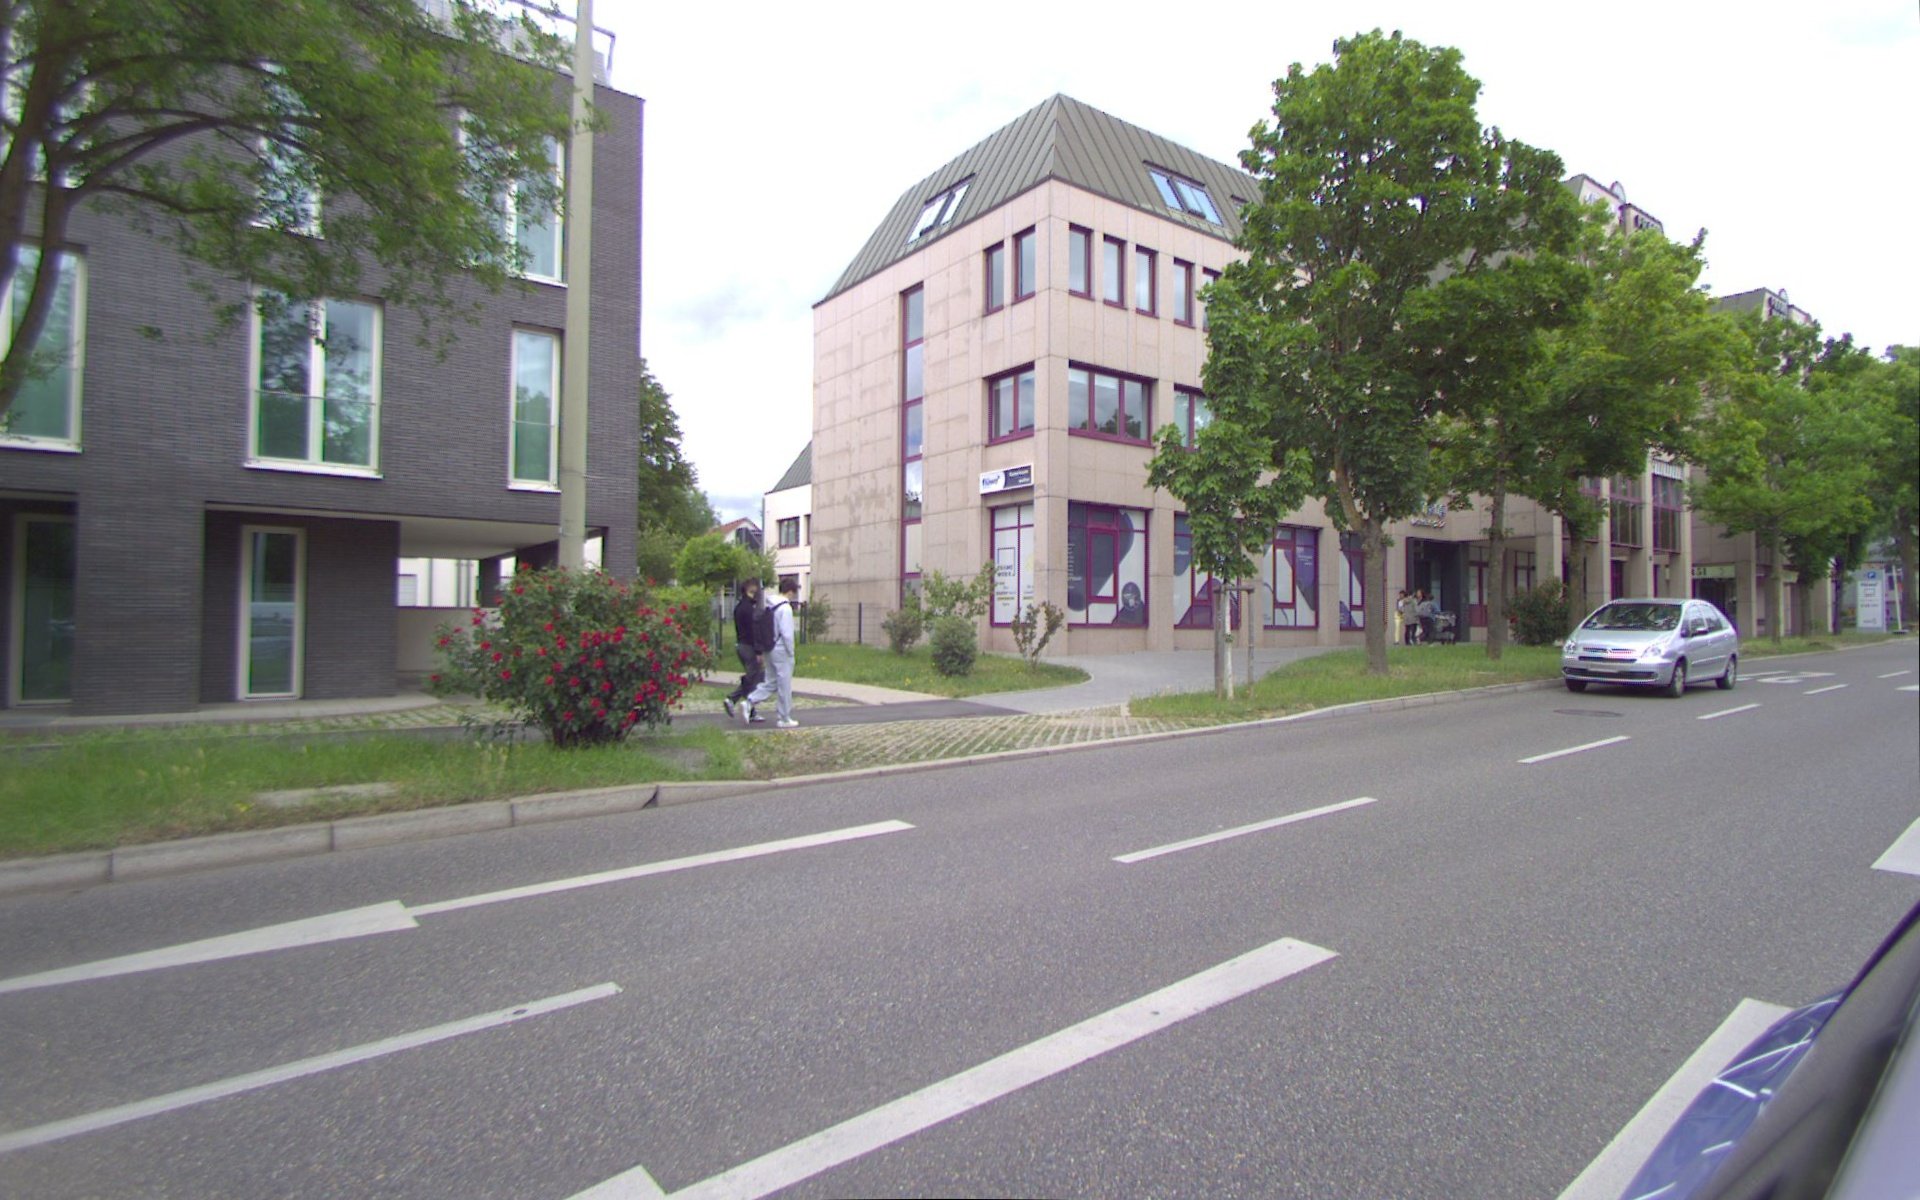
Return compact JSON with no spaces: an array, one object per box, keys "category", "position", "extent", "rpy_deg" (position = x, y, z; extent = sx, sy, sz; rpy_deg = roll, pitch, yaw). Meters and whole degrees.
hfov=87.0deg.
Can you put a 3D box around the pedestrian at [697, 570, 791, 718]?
[{"category":"pedestrian","position":[-2.731,0.554,12.820],"extent":[0.936,1.798,0.609],"rpy_deg":[3,-3,-40]}]

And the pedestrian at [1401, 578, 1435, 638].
[{"category":"pedestrian","position":[13.421,0.226,29.646],"extent":[0.814,1.721,0.569],"rpy_deg":[0,-1,-36]}]

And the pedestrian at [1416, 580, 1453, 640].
[{"category":"pedestrian","position":[13.527,0.271,28.841],"extent":[0.943,1.673,0.557],"rpy_deg":[0,0,-34]}]

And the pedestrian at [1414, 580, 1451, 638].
[{"category":"pedestrian","position":[14.368,0.278,30.768],"extent":[0.951,1.726,0.597],"rpy_deg":[0,-1,-35]}]

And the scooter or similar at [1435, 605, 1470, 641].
[{"category":"scooter or similar","position":[14.272,0.658,29.328],"extent":[0.830,1.006,0.585],"rpy_deg":[0,0,-34]}]

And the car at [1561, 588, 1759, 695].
[{"category":"car","position":[12.256,0.640,17.637],"extent":[4.080,1.656,1.763],"rpy_deg":[0,0,-39]}]

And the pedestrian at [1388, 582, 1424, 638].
[{"category":"pedestrian","position":[13.759,0.304,31.224],"extent":[0.951,1.726,0.597],"rpy_deg":[0,-1,-35]}]

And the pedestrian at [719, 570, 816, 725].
[{"category":"pedestrian","position":[-2.333,0.574,12.286],"extent":[0.936,1.798,0.609],"rpy_deg":[3,-3,-40]}]

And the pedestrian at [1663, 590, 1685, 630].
[{"category":"pedestrian","position":[28.354,0.403,40.202],"extent":[0.534,1.569,0.563],"rpy_deg":[0,1,-36]}]

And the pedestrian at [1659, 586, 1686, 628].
[{"category":"pedestrian","position":[29.371,0.294,41.723],"extent":[0.827,1.712,0.659],"rpy_deg":[0,1,-36]}]
